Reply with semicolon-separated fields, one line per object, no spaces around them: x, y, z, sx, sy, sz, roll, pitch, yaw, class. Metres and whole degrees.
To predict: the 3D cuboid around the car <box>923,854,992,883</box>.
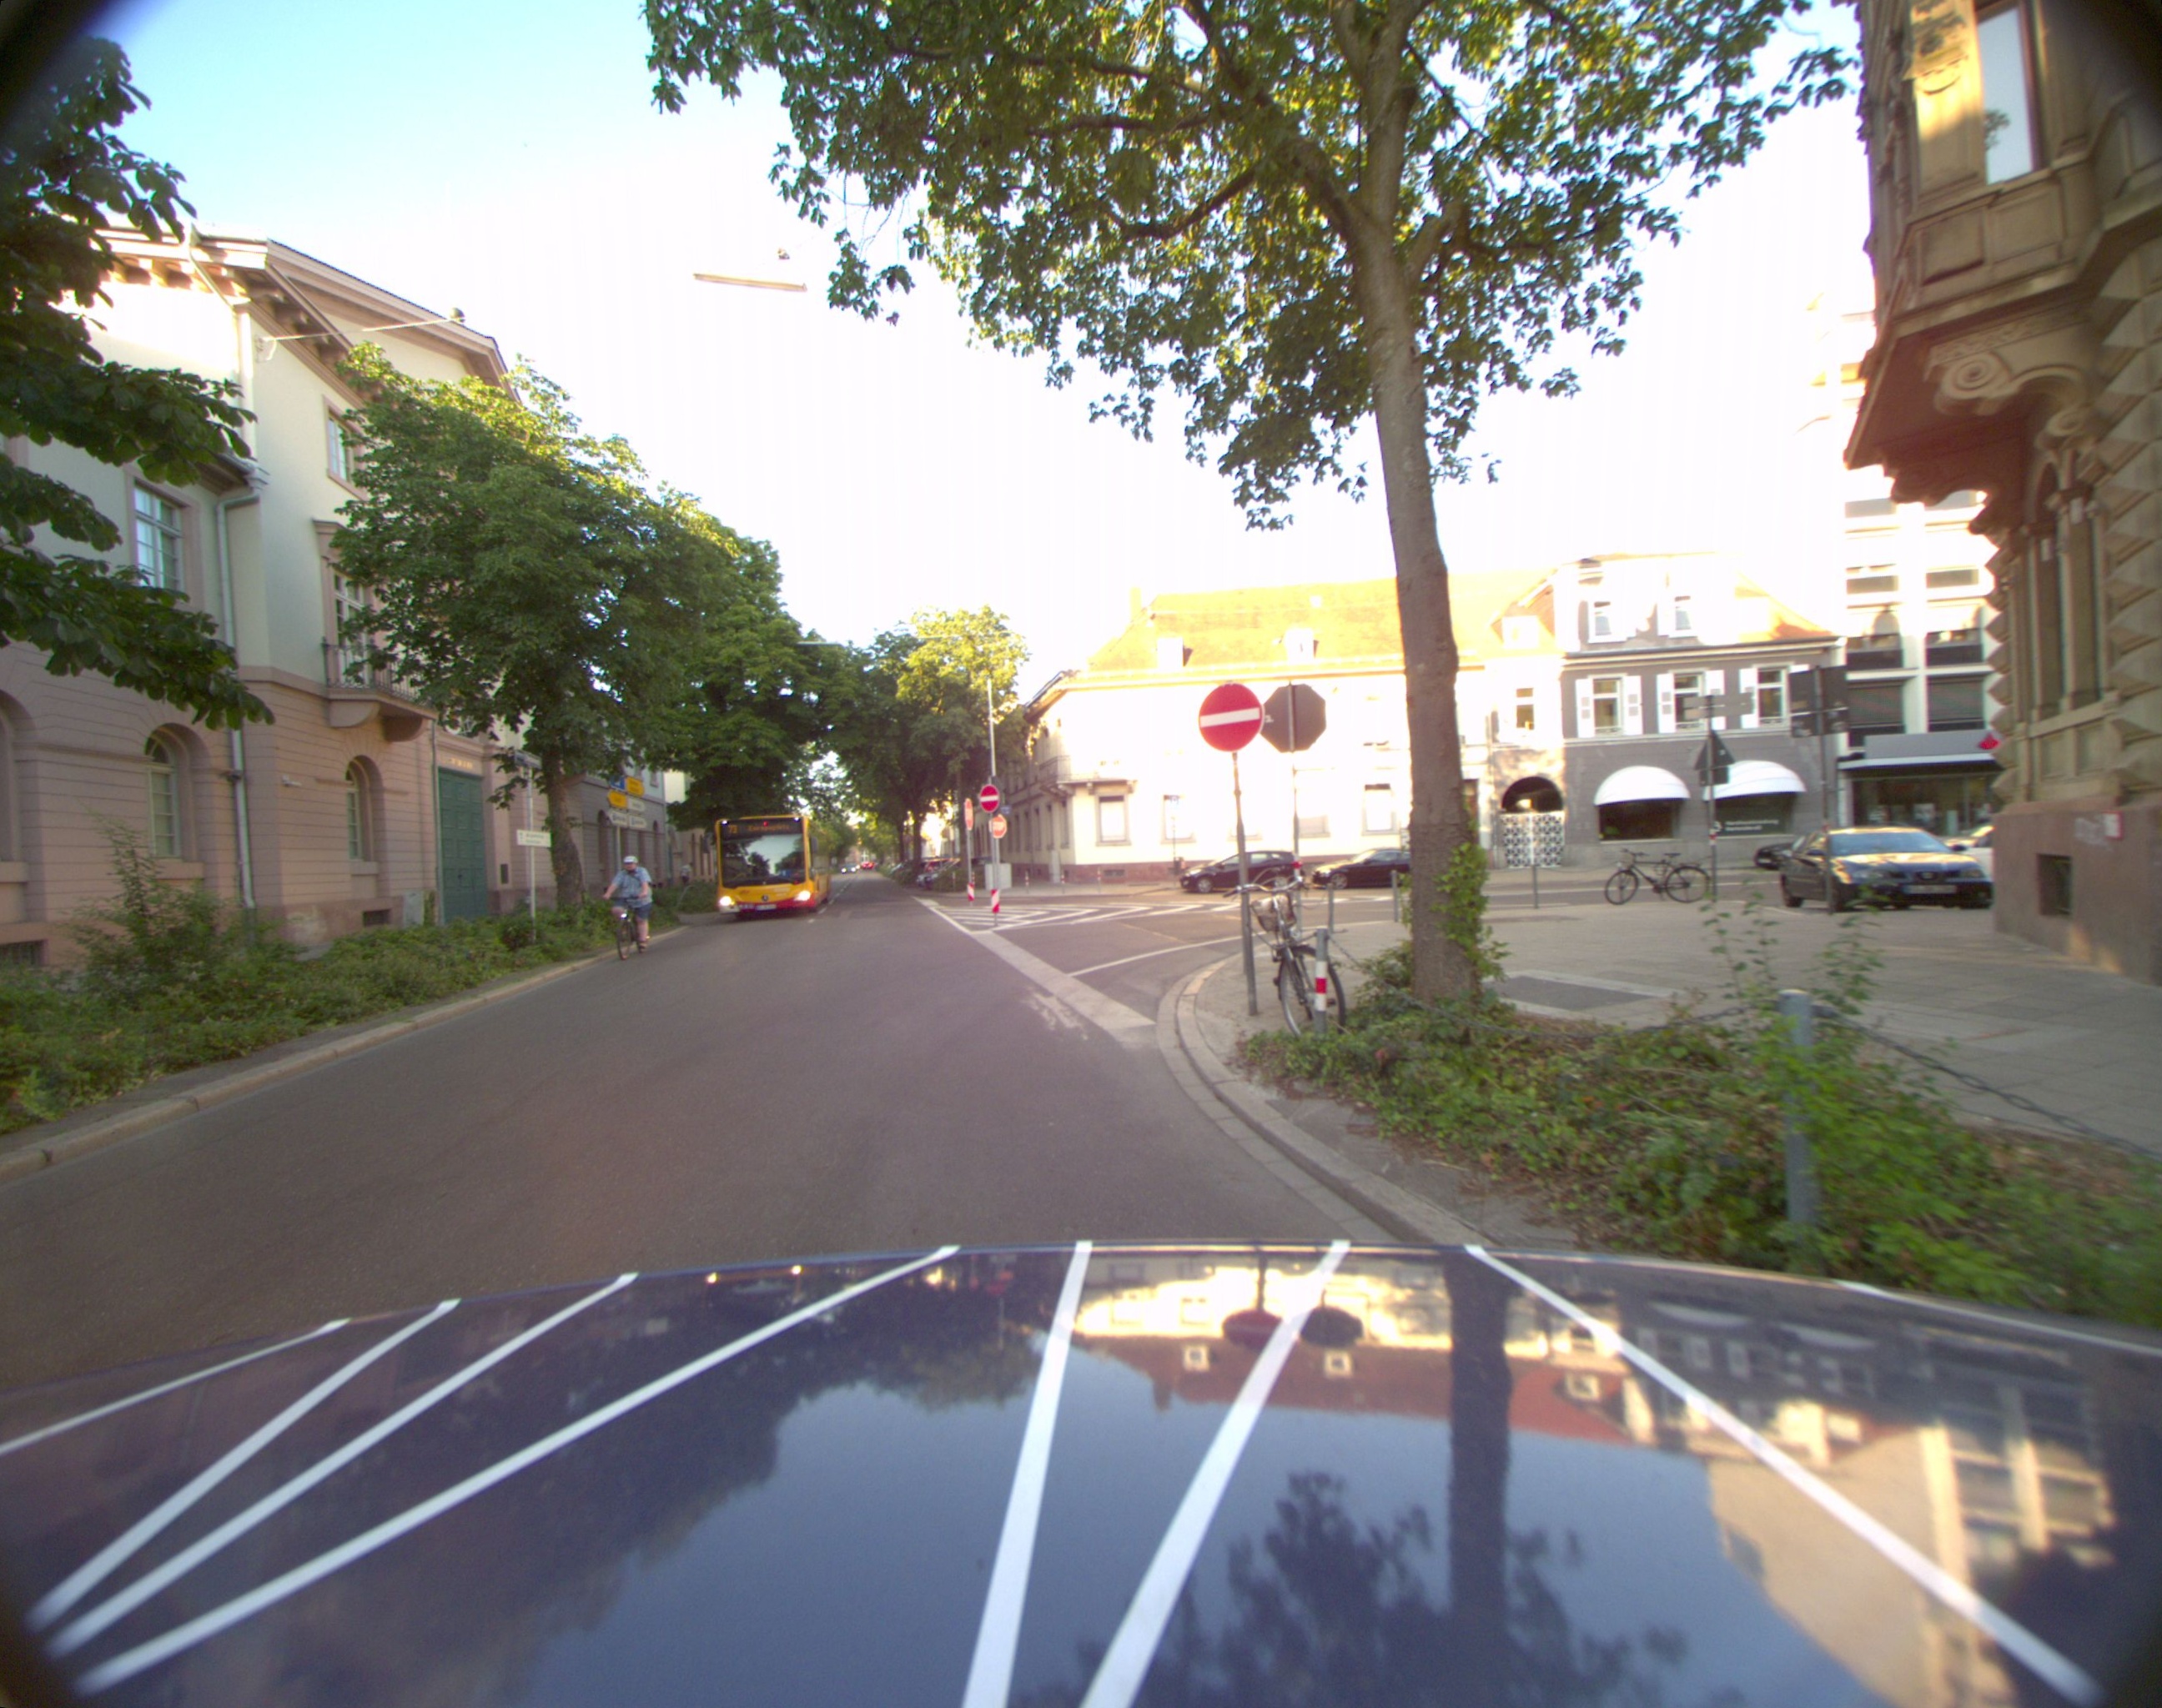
-7.769;0.905;47.647;4.002;1.606;1.721;-3;1;-17;car

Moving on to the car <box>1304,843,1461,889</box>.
10.569;0.434;26.947;4.850;1.386;1.780;-2;0;9;car

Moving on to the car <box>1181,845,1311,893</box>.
5.903;0.543;27.606;4.425;1.532;1.808;-2;0;7;car

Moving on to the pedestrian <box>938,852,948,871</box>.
-13.542;0.722;74.675;0.807;1.760;1.020;-3;1;-16;pedestrian

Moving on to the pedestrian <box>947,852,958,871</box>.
-12.712;0.749;74.923;0.895;1.760;1.020;-3;1;-16;pedestrian

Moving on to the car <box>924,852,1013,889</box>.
-5.511;0.791;37.076;4.002;1.606;1.826;-2;1;-17;car

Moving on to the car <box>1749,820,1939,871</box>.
25.109;-0.267;25.139;4.244;1.438;1.749;-2;0;7;car

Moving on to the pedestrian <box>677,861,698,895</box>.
-21.874;1.320;42.281;0.801;1.821;0.928;-3;1;-18;pedestrian

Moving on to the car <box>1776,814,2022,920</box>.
13.181;0.260;12.558;1.736;1.452;3.872;-2;-3;31;car

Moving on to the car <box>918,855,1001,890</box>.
-6.311;0.922;39.339;4.002;1.606;1.721;-3;1;-17;car

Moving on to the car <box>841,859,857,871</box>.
-35.652;1.704;116.645;2.084;1.687;3.995;-2;0;-14;car

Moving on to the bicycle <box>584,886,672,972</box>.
-8.296;1.319;14.022;0.784;1.322;2.075;-5;1;-15;bicycle

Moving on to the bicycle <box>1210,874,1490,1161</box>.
1.490;0.805;4.873;0.845;1.260;2.572;-2;0;0;bicycle

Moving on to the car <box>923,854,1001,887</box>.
-6.556;0.890;41.793;4.002;1.606;1.721;-3;1;-17;car

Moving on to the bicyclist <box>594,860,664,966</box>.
-8.315;1.061;14.009;0.784;1.829;0.825;-5;1;-16;bicyclist

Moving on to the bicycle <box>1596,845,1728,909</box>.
11.034;0.445;14.498;1.800;1.119;0.729;-3;-2;16;bicycle

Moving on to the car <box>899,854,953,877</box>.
-12.433;0.899;60.902;4.002;1.606;1.721;-3;1;-17;car

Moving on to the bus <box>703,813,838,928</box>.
-10.412;0.469;26.852;2.714;2.983;12.066;-4;1;-15;bus
